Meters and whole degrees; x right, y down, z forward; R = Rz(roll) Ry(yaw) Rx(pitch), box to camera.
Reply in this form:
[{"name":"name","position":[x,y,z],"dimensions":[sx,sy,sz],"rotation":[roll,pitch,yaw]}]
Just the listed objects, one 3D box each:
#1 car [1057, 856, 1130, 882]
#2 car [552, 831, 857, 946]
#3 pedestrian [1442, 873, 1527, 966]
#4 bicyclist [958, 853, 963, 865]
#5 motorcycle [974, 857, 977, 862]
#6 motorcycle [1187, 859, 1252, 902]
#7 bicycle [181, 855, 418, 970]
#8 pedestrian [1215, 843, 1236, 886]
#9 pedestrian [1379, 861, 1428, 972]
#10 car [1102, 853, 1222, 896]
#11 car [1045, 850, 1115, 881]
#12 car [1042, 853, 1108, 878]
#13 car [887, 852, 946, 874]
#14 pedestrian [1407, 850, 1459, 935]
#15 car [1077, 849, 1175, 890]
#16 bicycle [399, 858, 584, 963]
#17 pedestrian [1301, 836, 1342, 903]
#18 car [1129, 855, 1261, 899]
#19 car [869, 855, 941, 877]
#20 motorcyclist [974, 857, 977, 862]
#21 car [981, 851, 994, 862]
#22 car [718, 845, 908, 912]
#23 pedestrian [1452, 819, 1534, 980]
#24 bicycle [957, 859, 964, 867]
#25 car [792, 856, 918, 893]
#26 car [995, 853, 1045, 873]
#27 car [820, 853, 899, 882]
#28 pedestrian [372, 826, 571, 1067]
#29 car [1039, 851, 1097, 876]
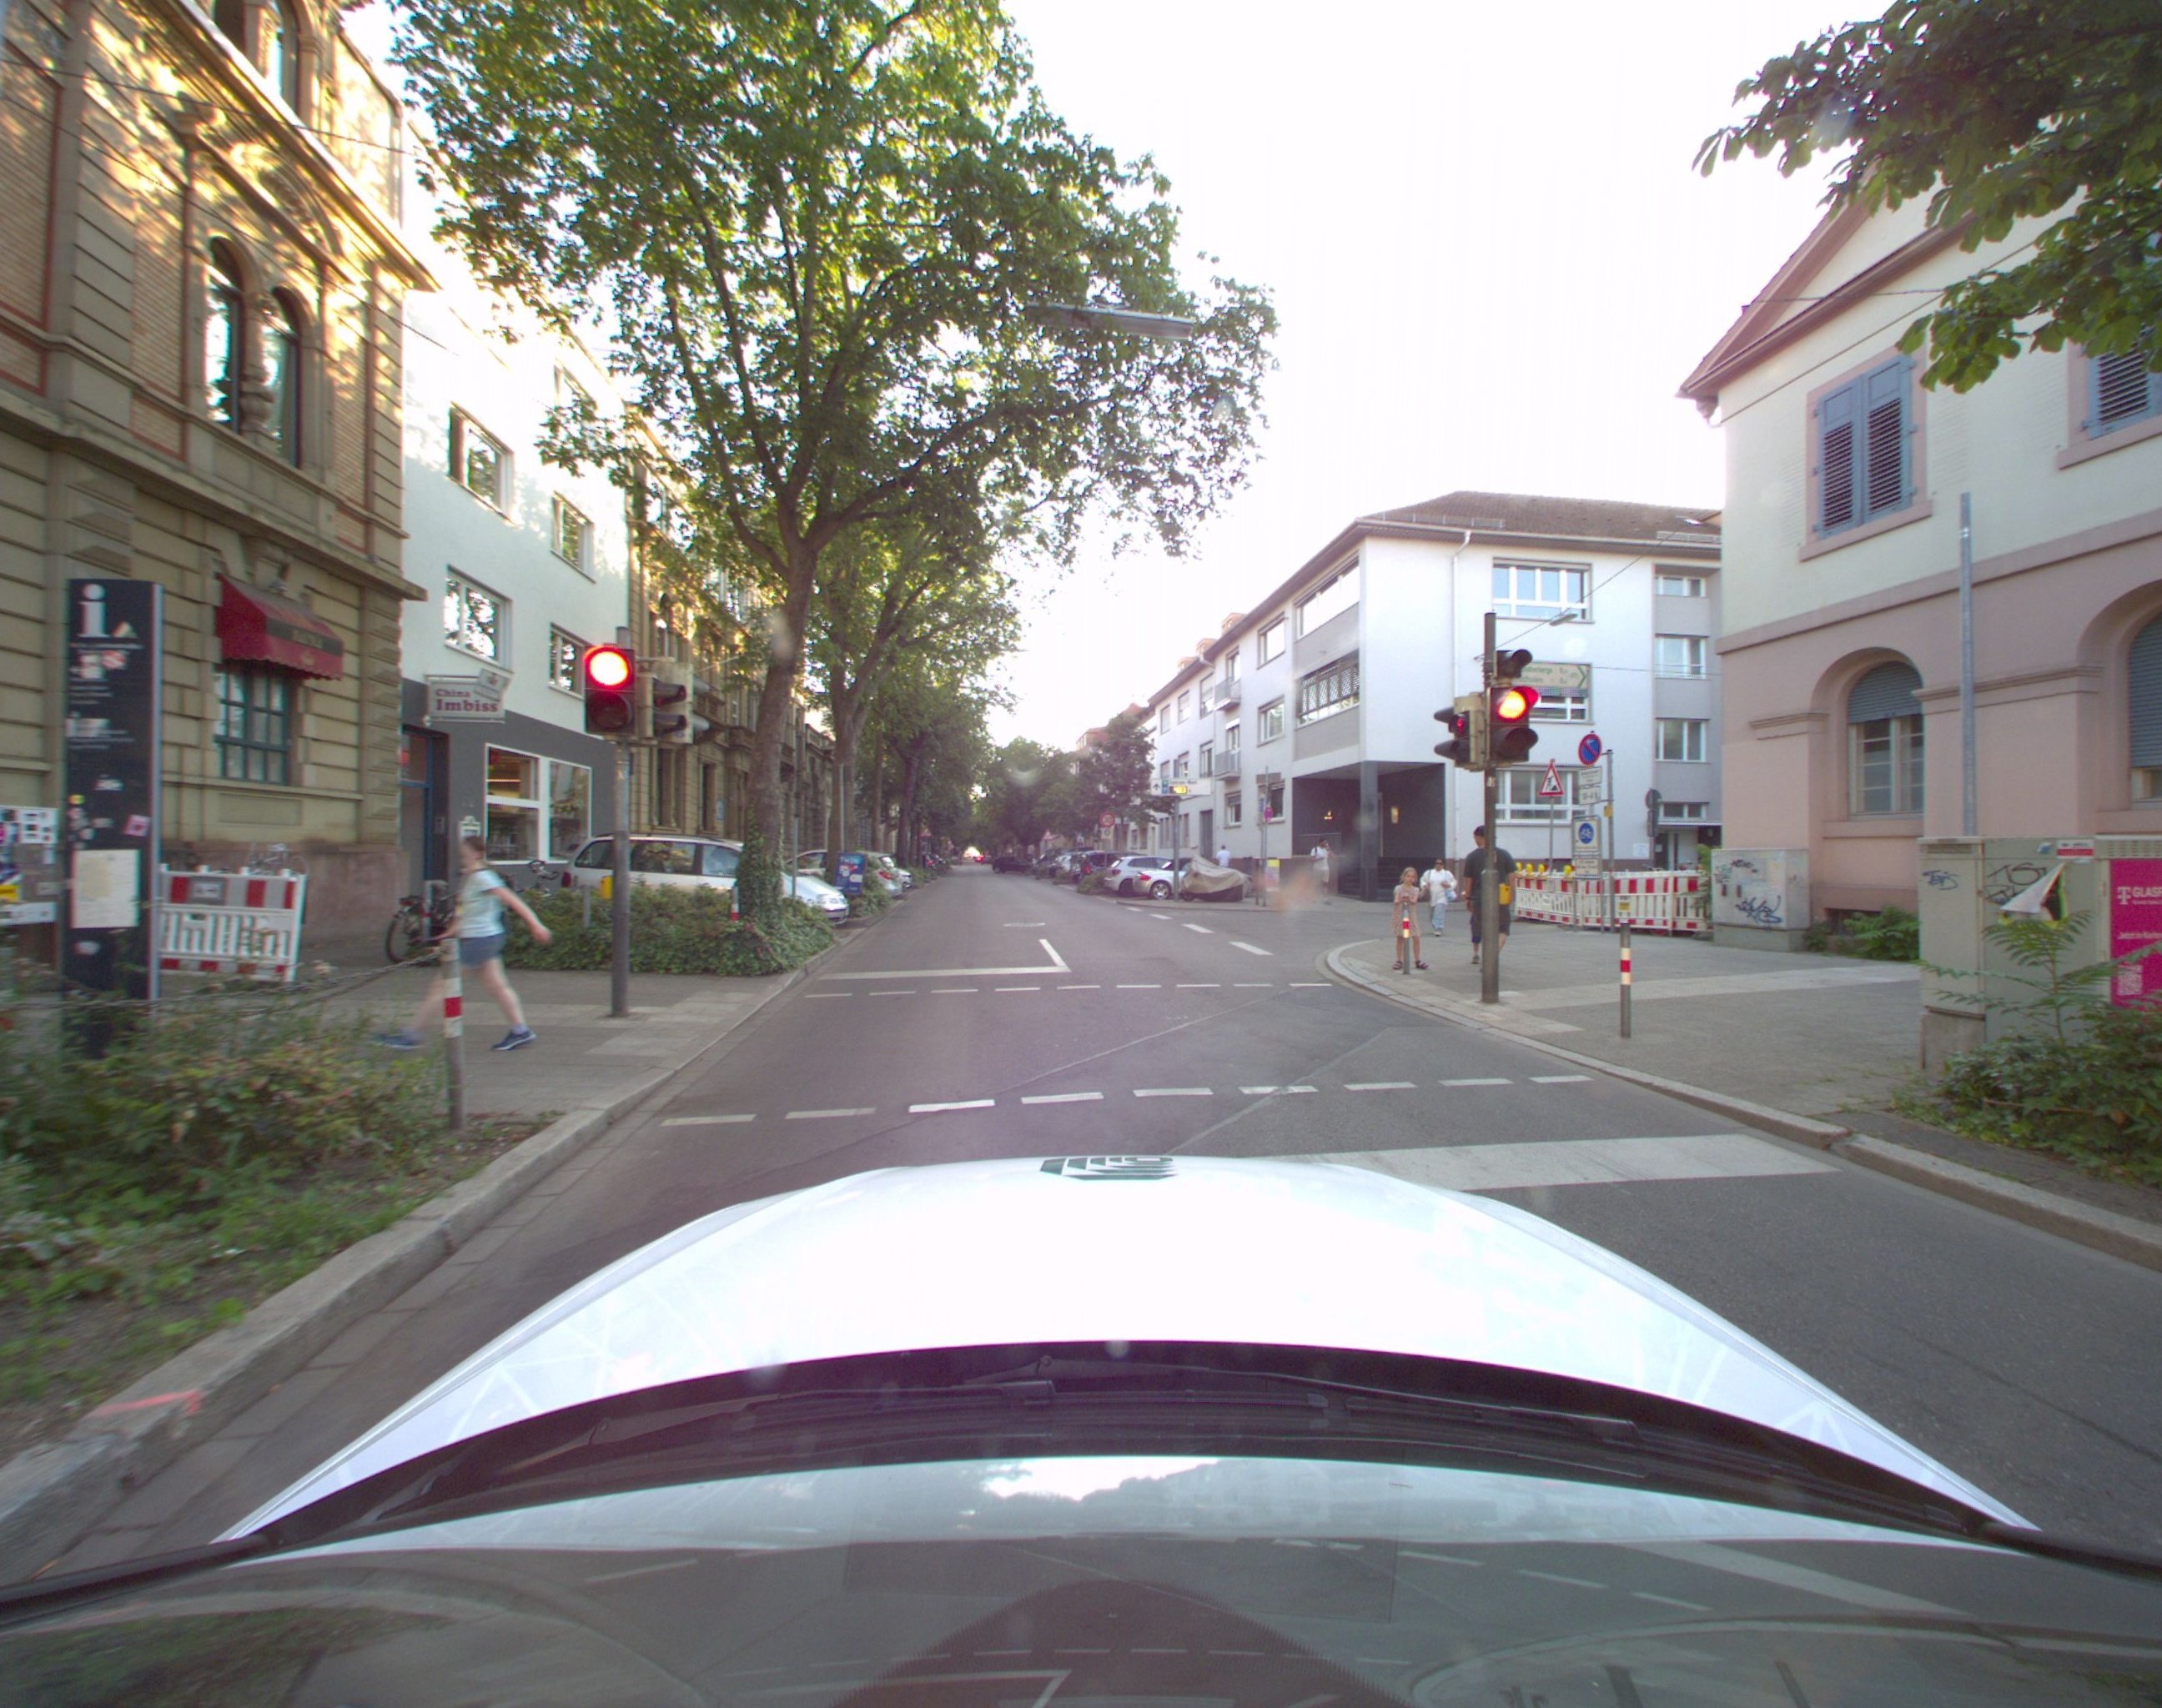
[{"name":"car","position":[0.701,0.828,46.642],"dimensions":[4.012,1.409,1.702],"rotation":[0,0,-8]},{"name":"car","position":[-6.388,0.541,14.369],"dimensions":[4.549,1.835,1.826],"rotation":[0,0,-11]},{"name":"pedestrian","position":[5.241,0.828,10.603],"dimensions":[0.567,1.121,0.832],"rotation":[-1,1,-18]},{"name":"bicyclist","position":[-14.401,0.583,97.290],"dimensions":[0.572,1.470,0.640],"rotation":[1,-1,-14]},{"name":"motorcycle","position":[-24.890,1.310,192.403],"dimensions":[0.818,1.236,2.020],"rotation":[1,0,-8]},{"name":"motorcycle","position":[3.981,0.764,23.497],"dimensions":[1.793,1.199,0.613],"rotation":[-1,0,1]},{"name":"bicycle","position":[-9.323,0.620,9.914],"dimensions":[0.636,1.202,2.558],"rotation":[0,0,-6]},{"name":"pedestrian","position":[5.958,0.439,33.524],"dimensions":[0.702,1.752,0.698],"rotation":[1,0,-4]},{"name":"pedestrian","position":[4.050,0.763,10.248],"dimensions":[0.501,1.336,0.543],"rotation":[0,0,15]},{"name":"car","position":[2.853,0.709,29.183],"dimensions":[4.012,1.442,1.702],"rotation":[0,0,-8]},{"name":"car","position":[-0.085,0.663,48.894],"dimensions":[4.012,1.815,1.702],"rotation":[0,0,-8]},{"name":"car","position":[-0.400,0.742,51.727],"dimensions":[4.012,1.530,1.702],"rotation":[0,0,-8]},{"name":"car","position":[-13.424,0.730,66.594],"dimensions":[4.544,1.691,1.828],"rotation":[0,0,-8]},{"name":"pedestrian","position":[6.454,0.677,14.925],"dimensions":[0.766,1.501,0.807],"rotation":[1,1,29]},{"name":"car","position":[1.930,0.658,35.468],"dimensions":[4.012,1.690,1.702],"rotation":[0,0,-8]},{"name":"bicycle","position":[-7.571,0.663,10.678],"dimensions":[0.733,1.186,2.628],"rotation":[2,0,-7]},{"name":"pedestrian","position":[6.742,0.420,22.870],"dimensions":[0.766,1.841,0.941],"rotation":[1,0,-7]},{"name":"car","position":[3.682,0.734,26.654],"dimensions":[4.011,1.342,1.702],"rotation":[0,0,-8]},{"name":"car","position":[-11.687,0.813,54.247],"dimensions":[4.544,1.410,1.828],"rotation":[0,0,-8]},{"name":"motorcyclist","position":[-24.880,1.311,192.335],"dimensions":[0.818,1.236,0.848],"rotation":[1,-1,-8]},{"name":"car","position":[-14.690,0.379,128.034],"dimensions":[1.824,1.561,4.016],"rotation":[1,0,-8]},{"name":"car","position":[-7.059,0.628,21.860],"dimensions":[4.544,1.689,1.828],"rotation":[0,0,-8]},{"name":"pedestrian","position":[4.906,0.501,9.753],"dimensions":[0.784,1.815,0.896],"rotation":[0,2,21]},{"name":"bicycle","position":[-14.384,1.125,97.212],"dimensions":[0.572,0.949,1.736],"rotation":[1,-1,-13]},{"name":"car","position":[-8.784,0.764,31.979],"dimensions":[4.544,1.372,1.828],"rotation":[0,0,-8]},{"name":"car","position":[-5.358,0.784,71.425],"dimensions":[3.952,1.578,1.916],"rotation":[1,-1,12]},{"name":"car","position":[-12.428,0.734,45.842],"dimensions":[4.035,1.590,1.828],"rotation":[0,0,-8]},{"name":"pedestrian","position":[-4.287,0.613,5.822],"dimensions":[0.982,1.557,0.695],"rotation":[3,-1,-29]},{"name":"car","position":[-0.947,0.681,58.987],"dimensions":[4.012,1.830,1.702],"rotation":[0,0,-8]}]
